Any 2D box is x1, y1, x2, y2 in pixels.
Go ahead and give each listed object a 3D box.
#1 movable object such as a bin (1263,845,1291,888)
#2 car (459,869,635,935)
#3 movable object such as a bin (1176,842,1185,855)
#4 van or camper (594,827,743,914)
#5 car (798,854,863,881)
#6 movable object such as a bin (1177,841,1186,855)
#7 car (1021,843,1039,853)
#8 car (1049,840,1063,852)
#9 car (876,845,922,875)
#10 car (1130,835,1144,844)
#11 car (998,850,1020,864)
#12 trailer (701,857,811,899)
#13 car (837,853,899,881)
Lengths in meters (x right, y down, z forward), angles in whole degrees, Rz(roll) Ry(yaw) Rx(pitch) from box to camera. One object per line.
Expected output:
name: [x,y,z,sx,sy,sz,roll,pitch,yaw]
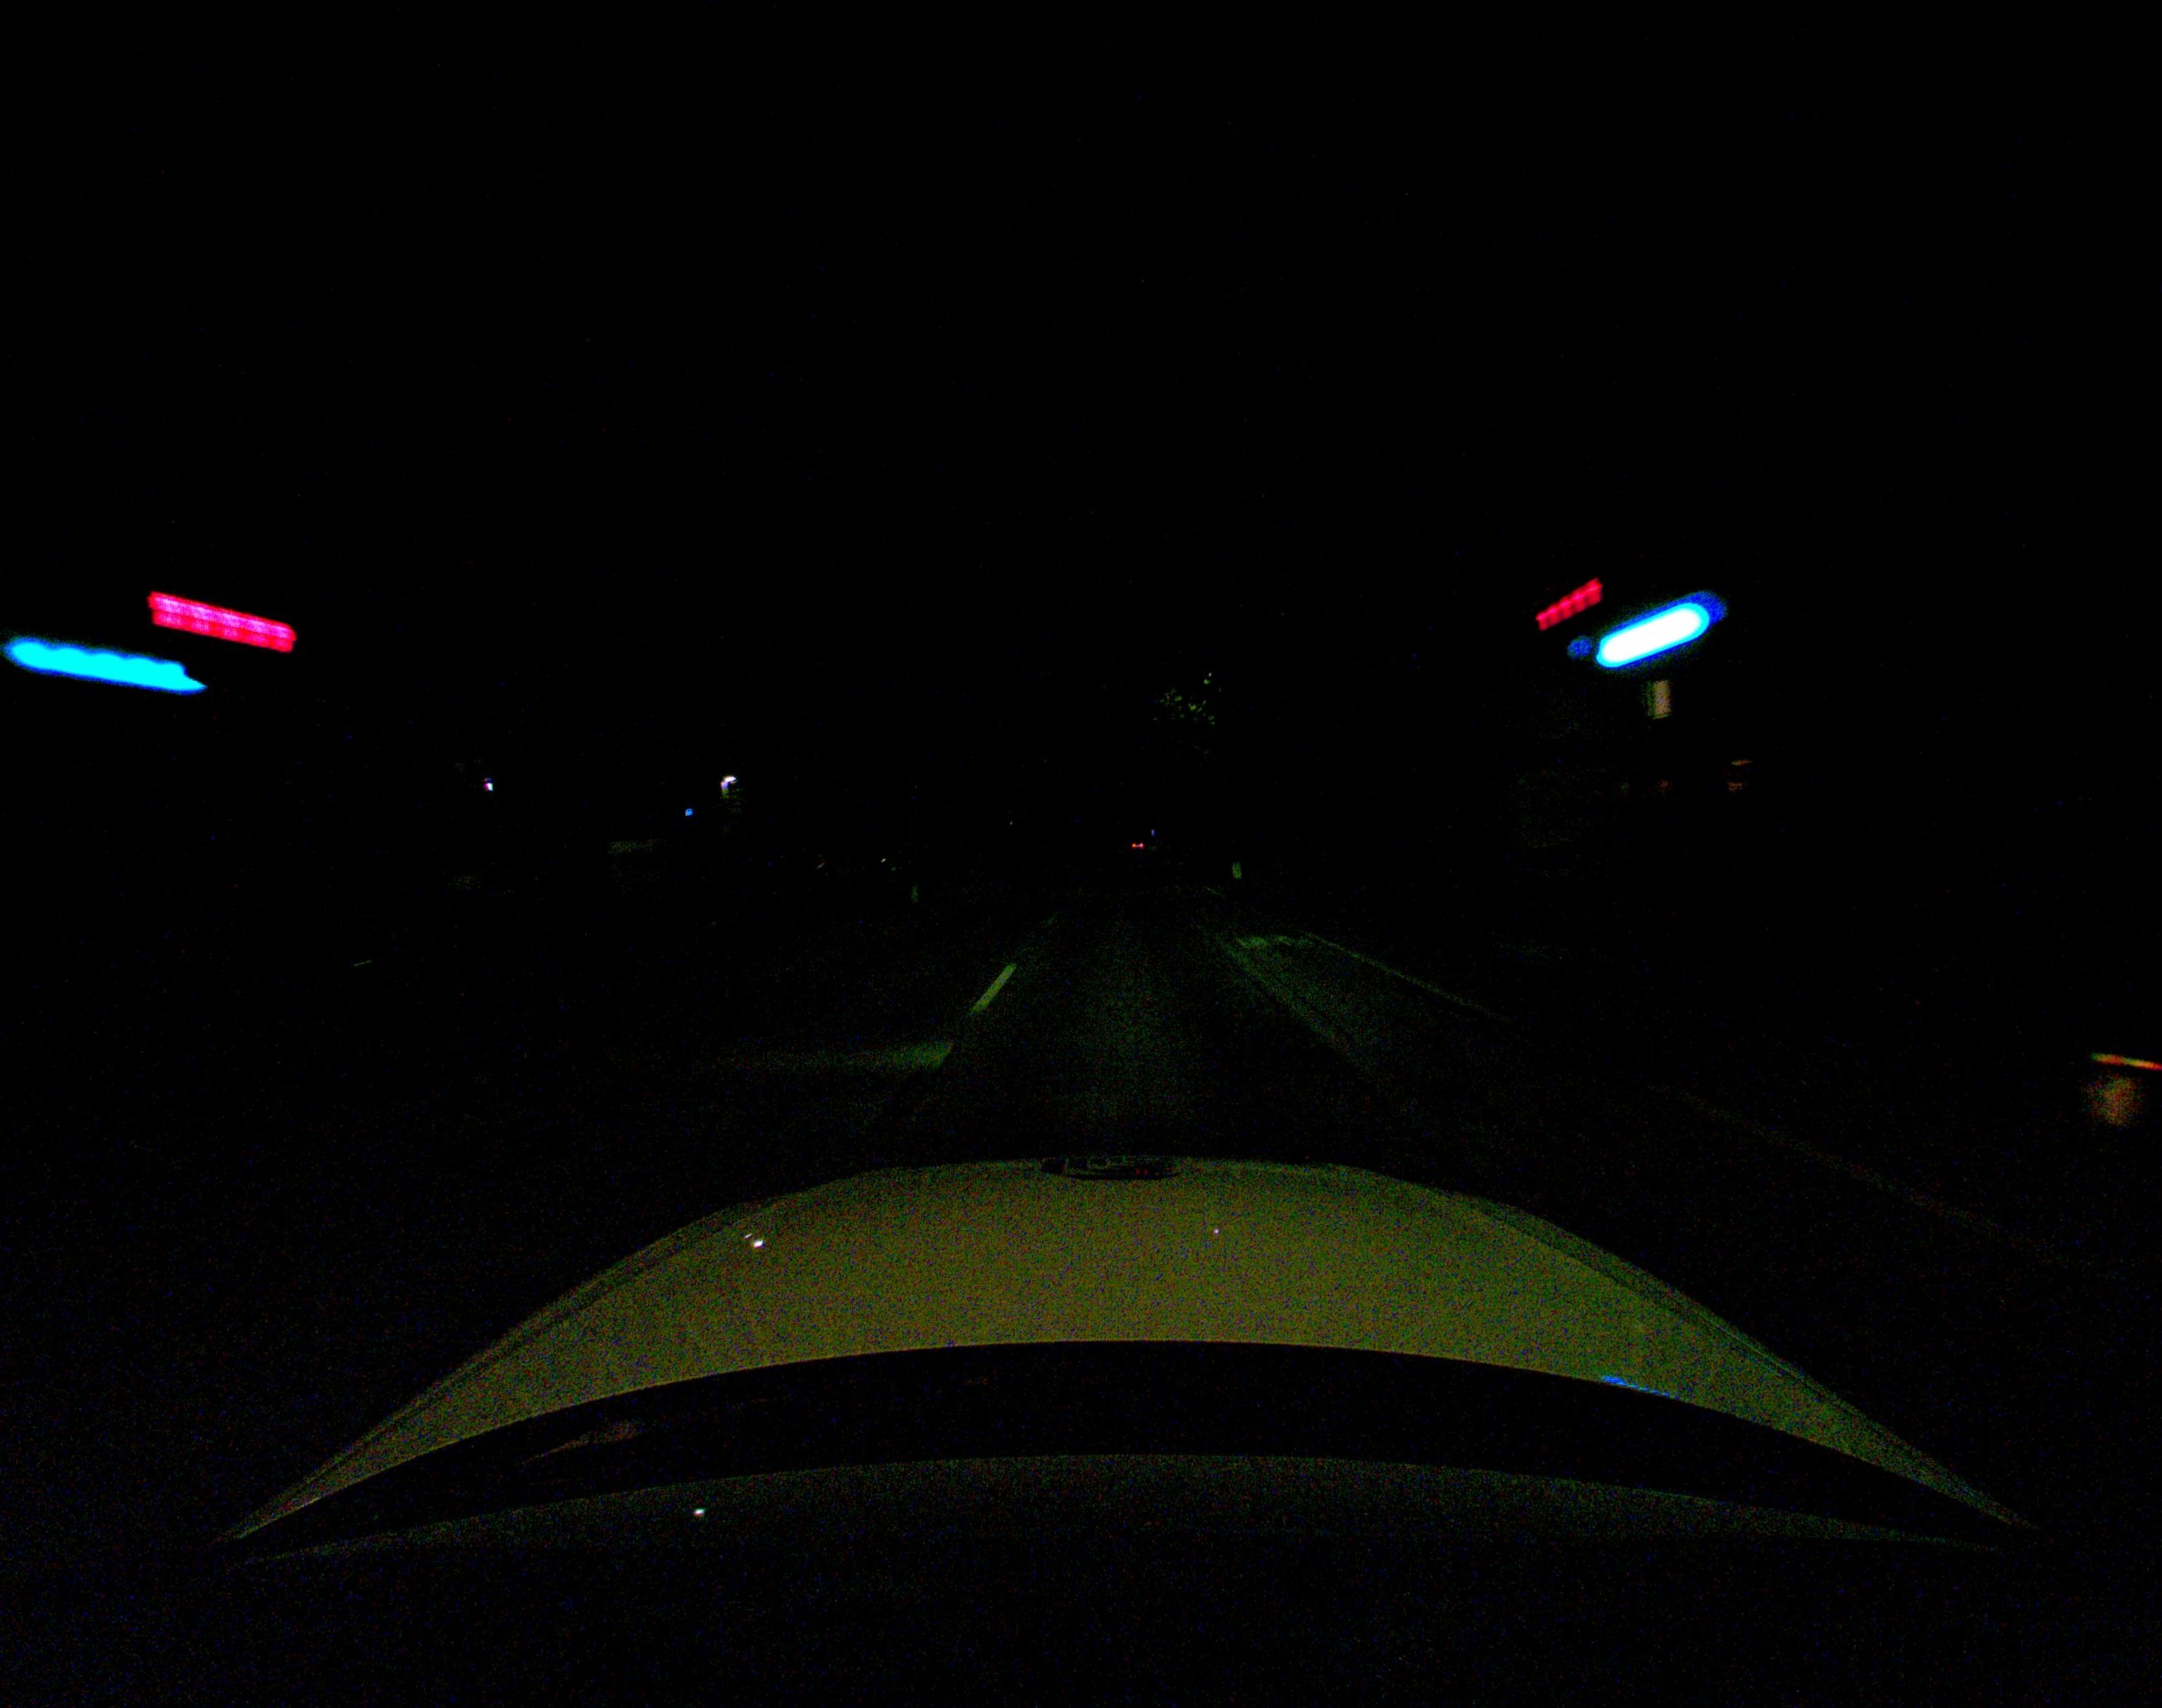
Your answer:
movable object such as a bin: [5.706,0.345,23.699,0.719,1.200,0.722,-3,1,11]
car: [-14.817,1.257,22.969,1.639,1.339,4.547,-7,1,3]
movable object such as a bin: [9.076,-0.519,74.265,0.852,1.119,0.842,-2,1,7]
van or camper: [-14.583,0.500,29.319,2.265,2.647,5.663,-5,1,0]
car: [-13.762,0.730,44.799,3.019,1.326,1.533,-2,0,-1]
movable object such as a bin: [9.053,-0.520,73.388,0.829,1.181,0.830,-2,1,7]
car: [-7.705,-0.913,124.291,1.985,1.338,5.438,-3,1,4]
car: [-4.744,-1.500,154.718,2.083,2.013,4.004,-7,1,4]
car: [-12.541,0.396,56.346,1.850,1.904,4.882,-2,1,1]
car: [10.029,-2.564,146.188,2.154,1.583,4.014,-2,0,1]
car: [-9.242,0.417,104.513,1.985,1.628,4.682,-3,1,4]
trailer: [-14.294,1.018,36.188,2.406,1.374,4.667,-6,0,9]
car: [-13.052,0.759,50.280,1.892,1.522,5.181,-2,1,7]
